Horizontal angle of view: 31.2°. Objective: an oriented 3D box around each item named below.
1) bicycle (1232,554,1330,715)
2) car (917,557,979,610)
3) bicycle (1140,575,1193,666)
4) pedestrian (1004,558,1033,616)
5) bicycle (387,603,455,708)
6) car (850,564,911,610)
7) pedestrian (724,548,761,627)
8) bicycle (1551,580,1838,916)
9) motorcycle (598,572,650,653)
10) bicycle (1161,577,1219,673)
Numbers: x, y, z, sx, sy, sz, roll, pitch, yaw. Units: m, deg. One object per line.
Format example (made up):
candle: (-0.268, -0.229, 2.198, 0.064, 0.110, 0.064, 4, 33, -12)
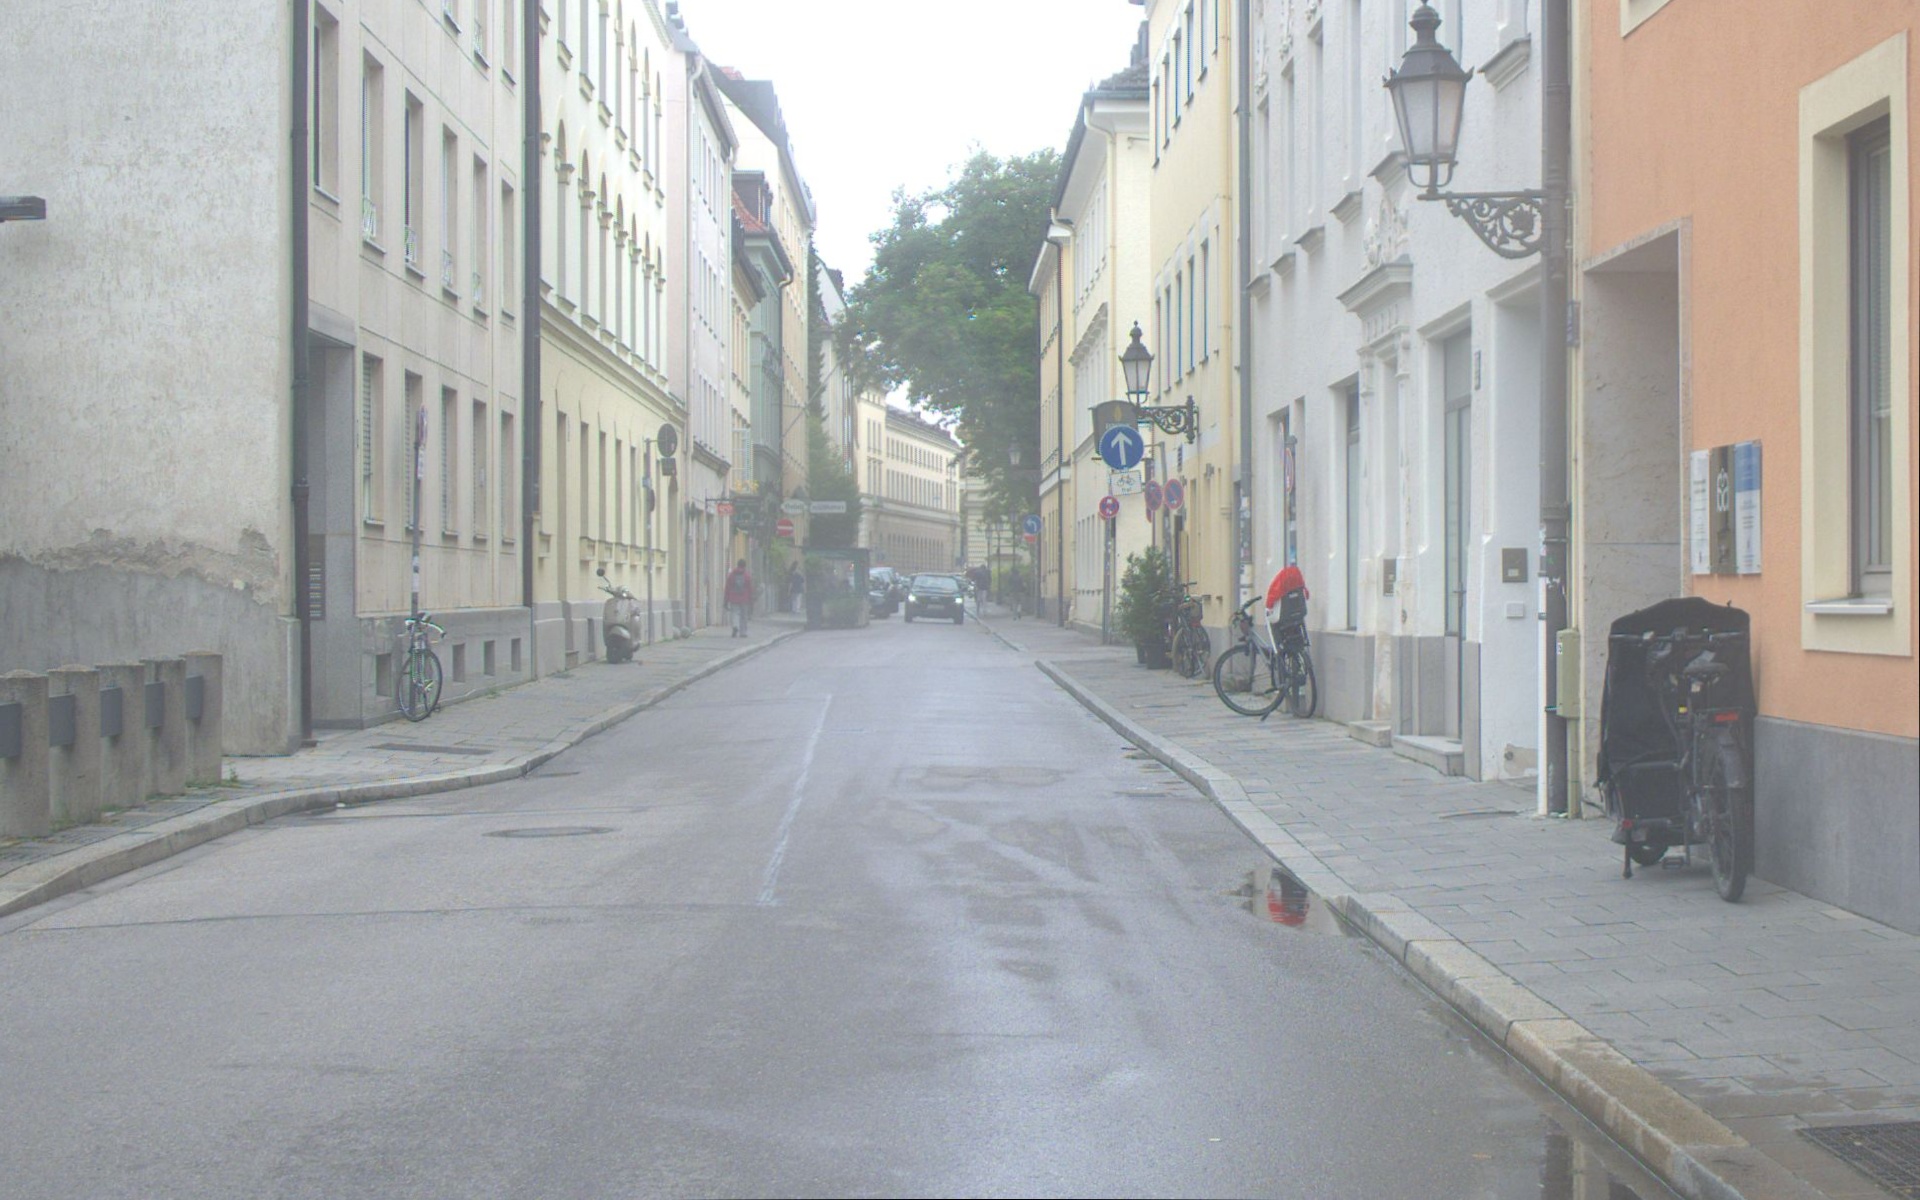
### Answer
bicycle: (2.941, 0.294, 31.674, 0.713, 1.391, 2.121, -3, 1, 2)
car: (-0.393, -0.526, 105.350, 1.812, 1.588, 4.000, 0, 1, -2)
bicycle: (2.695, 0.259, 44.981, 0.565, 1.133, 1.684, -2, 1, 1)
pedestrian: (1.846, -0.408, 108.015, 0.880, 1.796, 1.046, 1, 0, 0)
bicycle: (-5.108, 0.513, 32.609, 0.320, 0.940, 1.574, 3, 1, 1)
car: (-2.638, -0.451, 114.177, 1.779, 1.461, 3.662, 1, 1, 2)
pedestrian: (-4.682, -0.274, 74.009, 0.765, 1.702, 0.785, 0, 1, -3)
bicycle: (3.096, 0.577, 14.731, 0.679, 1.236, 2.382, -4, 1, 1)
motorcycle: (-4.960, 0.170, 50.826, 0.602, 1.170, 1.708, 1, 1, 0)
bicycle: (2.849, 0.292, 42.762, 0.565, 1.133, 1.987, -2, 1, 1)
